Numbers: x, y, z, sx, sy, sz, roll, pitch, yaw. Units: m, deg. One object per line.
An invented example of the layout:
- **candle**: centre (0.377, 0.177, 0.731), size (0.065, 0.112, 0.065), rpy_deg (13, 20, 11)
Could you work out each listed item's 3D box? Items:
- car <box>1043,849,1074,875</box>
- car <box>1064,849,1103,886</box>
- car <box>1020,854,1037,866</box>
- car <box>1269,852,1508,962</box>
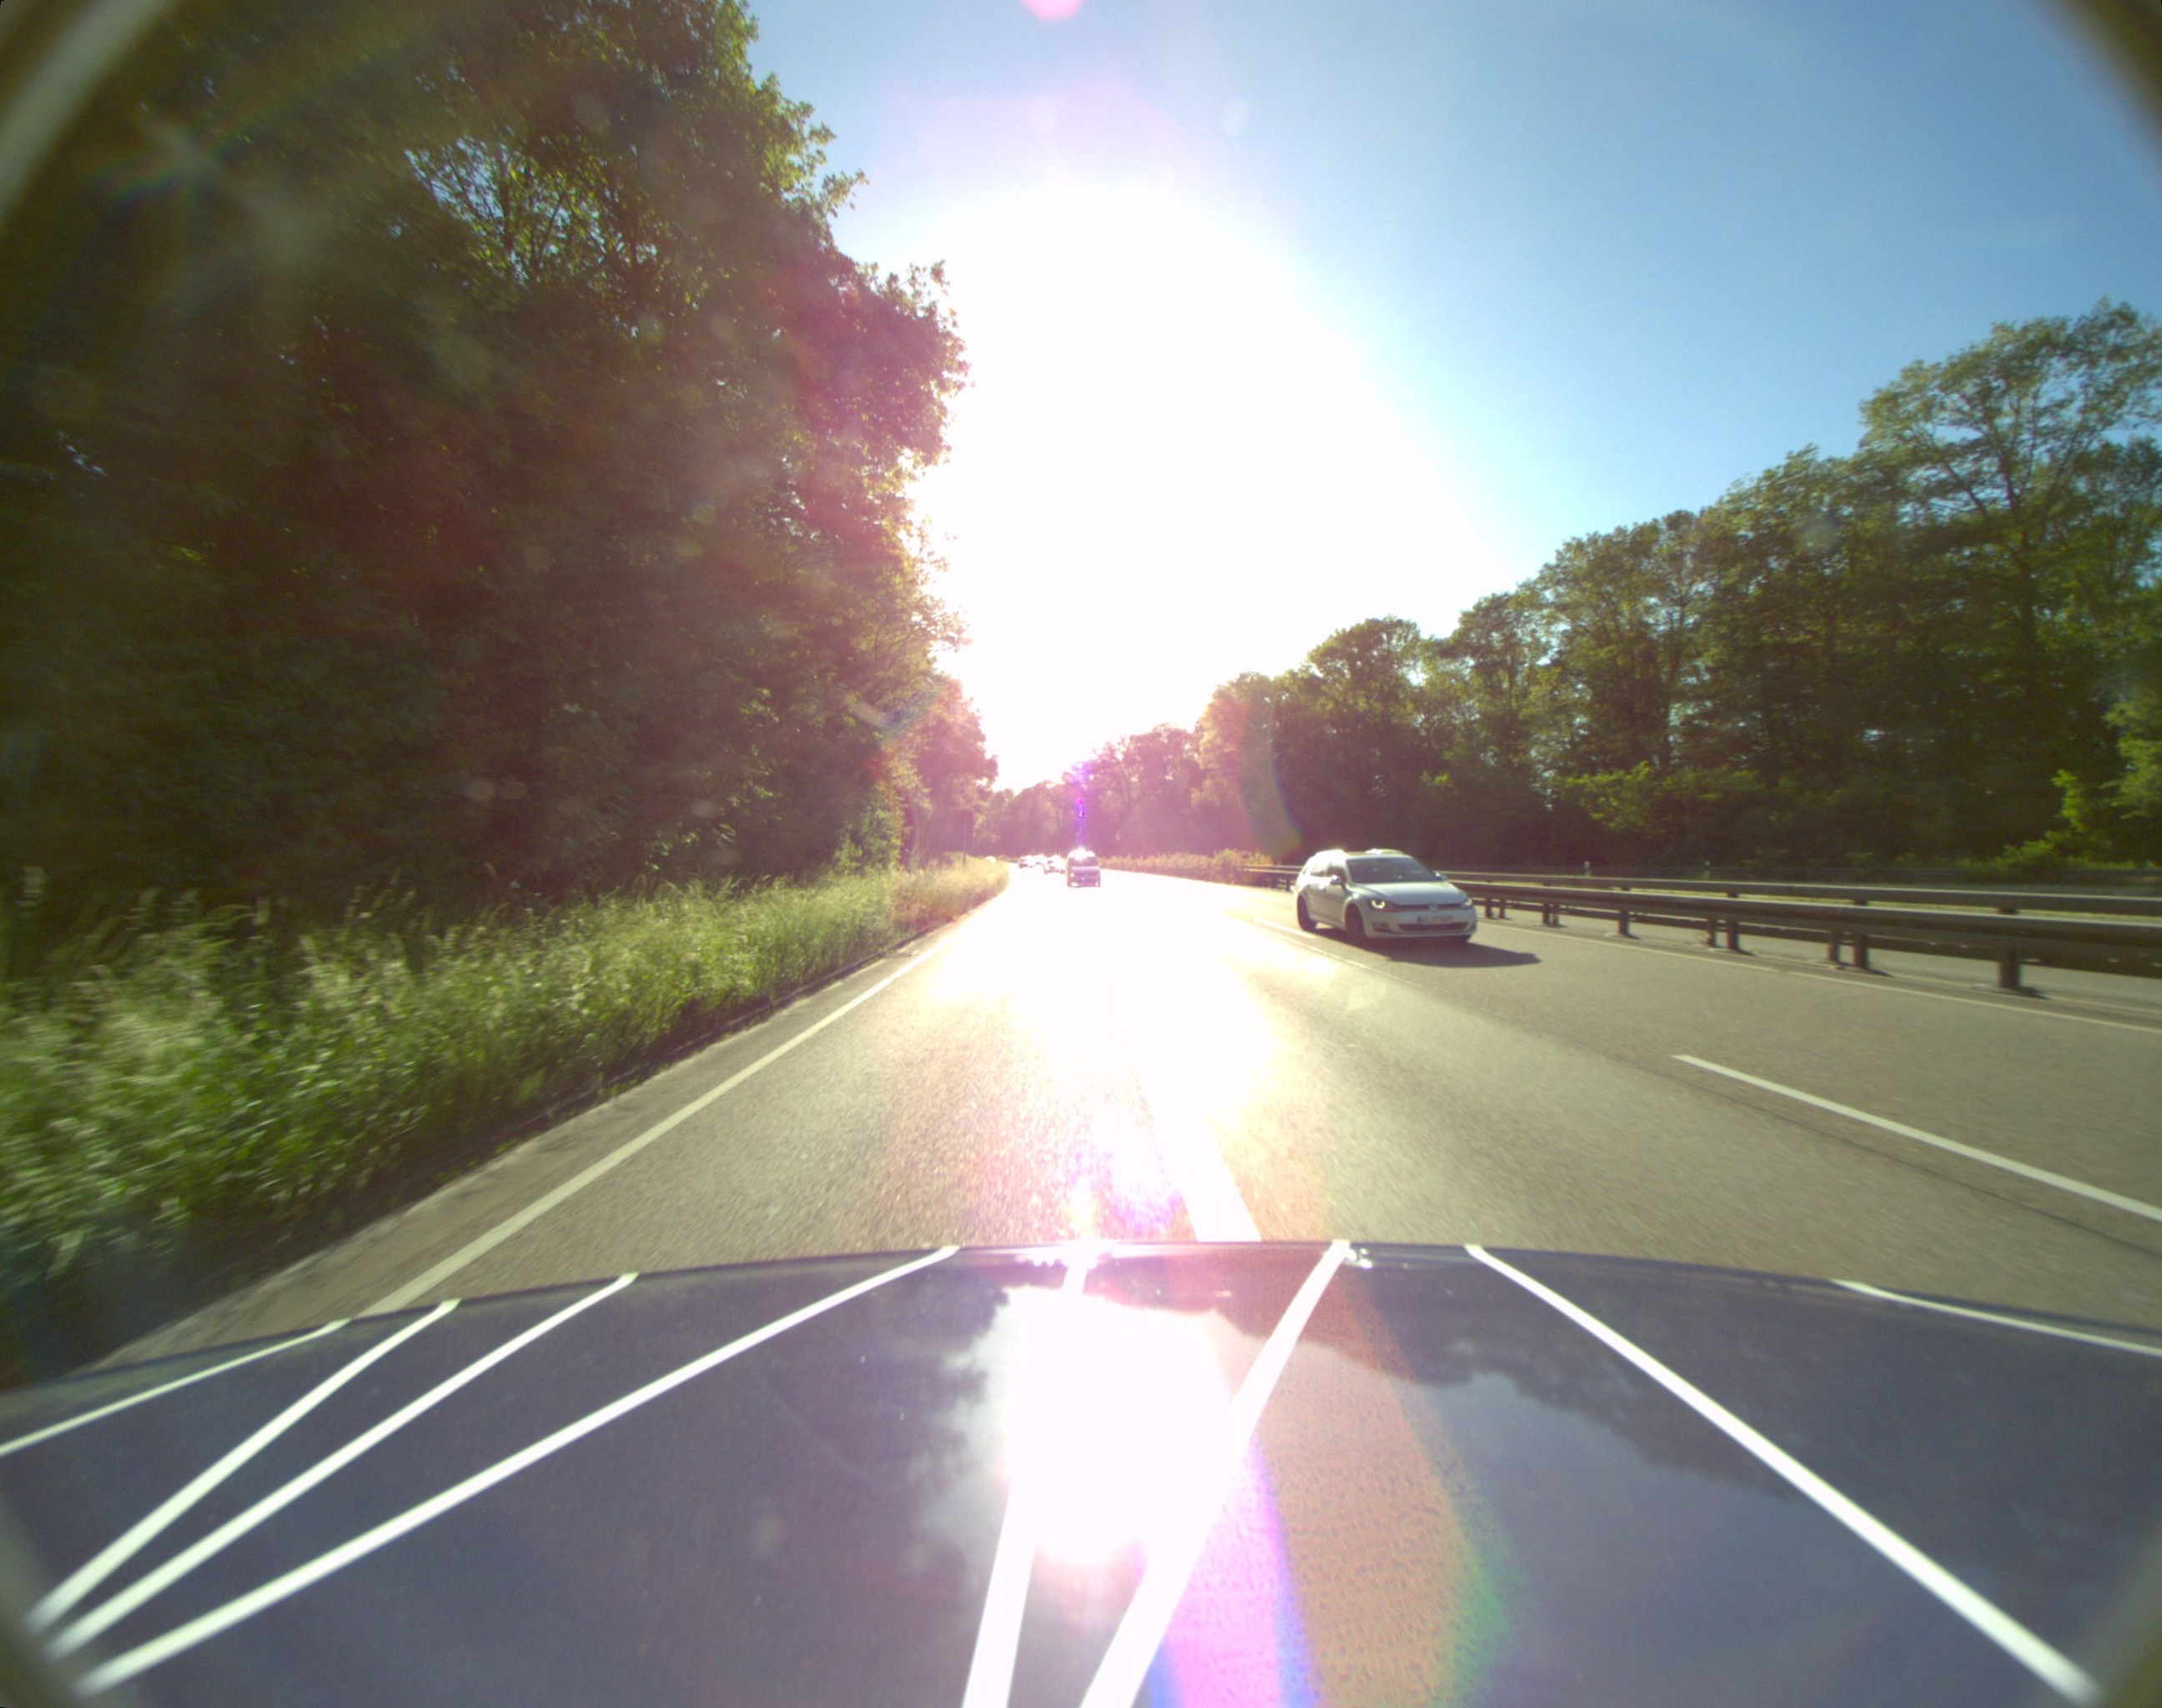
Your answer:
- **car**: centre (-2.031, 0.660, 66.766), size (2.258, 1.843, 5.136), rpy_deg (-2, 3, -7)
- **car**: centre (0.070, 0.687, 41.509), size (1.800, 1.796, 4.831), rpy_deg (-2, 1, -3)
- **car**: centre (-6.876, 0.725, 99.725), size (1.935, 1.499, 5.083), rpy_deg (-1, 0, -7)
- **car**: centre (5.038, 0.755, 13.540), size (1.934, 1.499, 5.599), rpy_deg (-2, 0, 0)
